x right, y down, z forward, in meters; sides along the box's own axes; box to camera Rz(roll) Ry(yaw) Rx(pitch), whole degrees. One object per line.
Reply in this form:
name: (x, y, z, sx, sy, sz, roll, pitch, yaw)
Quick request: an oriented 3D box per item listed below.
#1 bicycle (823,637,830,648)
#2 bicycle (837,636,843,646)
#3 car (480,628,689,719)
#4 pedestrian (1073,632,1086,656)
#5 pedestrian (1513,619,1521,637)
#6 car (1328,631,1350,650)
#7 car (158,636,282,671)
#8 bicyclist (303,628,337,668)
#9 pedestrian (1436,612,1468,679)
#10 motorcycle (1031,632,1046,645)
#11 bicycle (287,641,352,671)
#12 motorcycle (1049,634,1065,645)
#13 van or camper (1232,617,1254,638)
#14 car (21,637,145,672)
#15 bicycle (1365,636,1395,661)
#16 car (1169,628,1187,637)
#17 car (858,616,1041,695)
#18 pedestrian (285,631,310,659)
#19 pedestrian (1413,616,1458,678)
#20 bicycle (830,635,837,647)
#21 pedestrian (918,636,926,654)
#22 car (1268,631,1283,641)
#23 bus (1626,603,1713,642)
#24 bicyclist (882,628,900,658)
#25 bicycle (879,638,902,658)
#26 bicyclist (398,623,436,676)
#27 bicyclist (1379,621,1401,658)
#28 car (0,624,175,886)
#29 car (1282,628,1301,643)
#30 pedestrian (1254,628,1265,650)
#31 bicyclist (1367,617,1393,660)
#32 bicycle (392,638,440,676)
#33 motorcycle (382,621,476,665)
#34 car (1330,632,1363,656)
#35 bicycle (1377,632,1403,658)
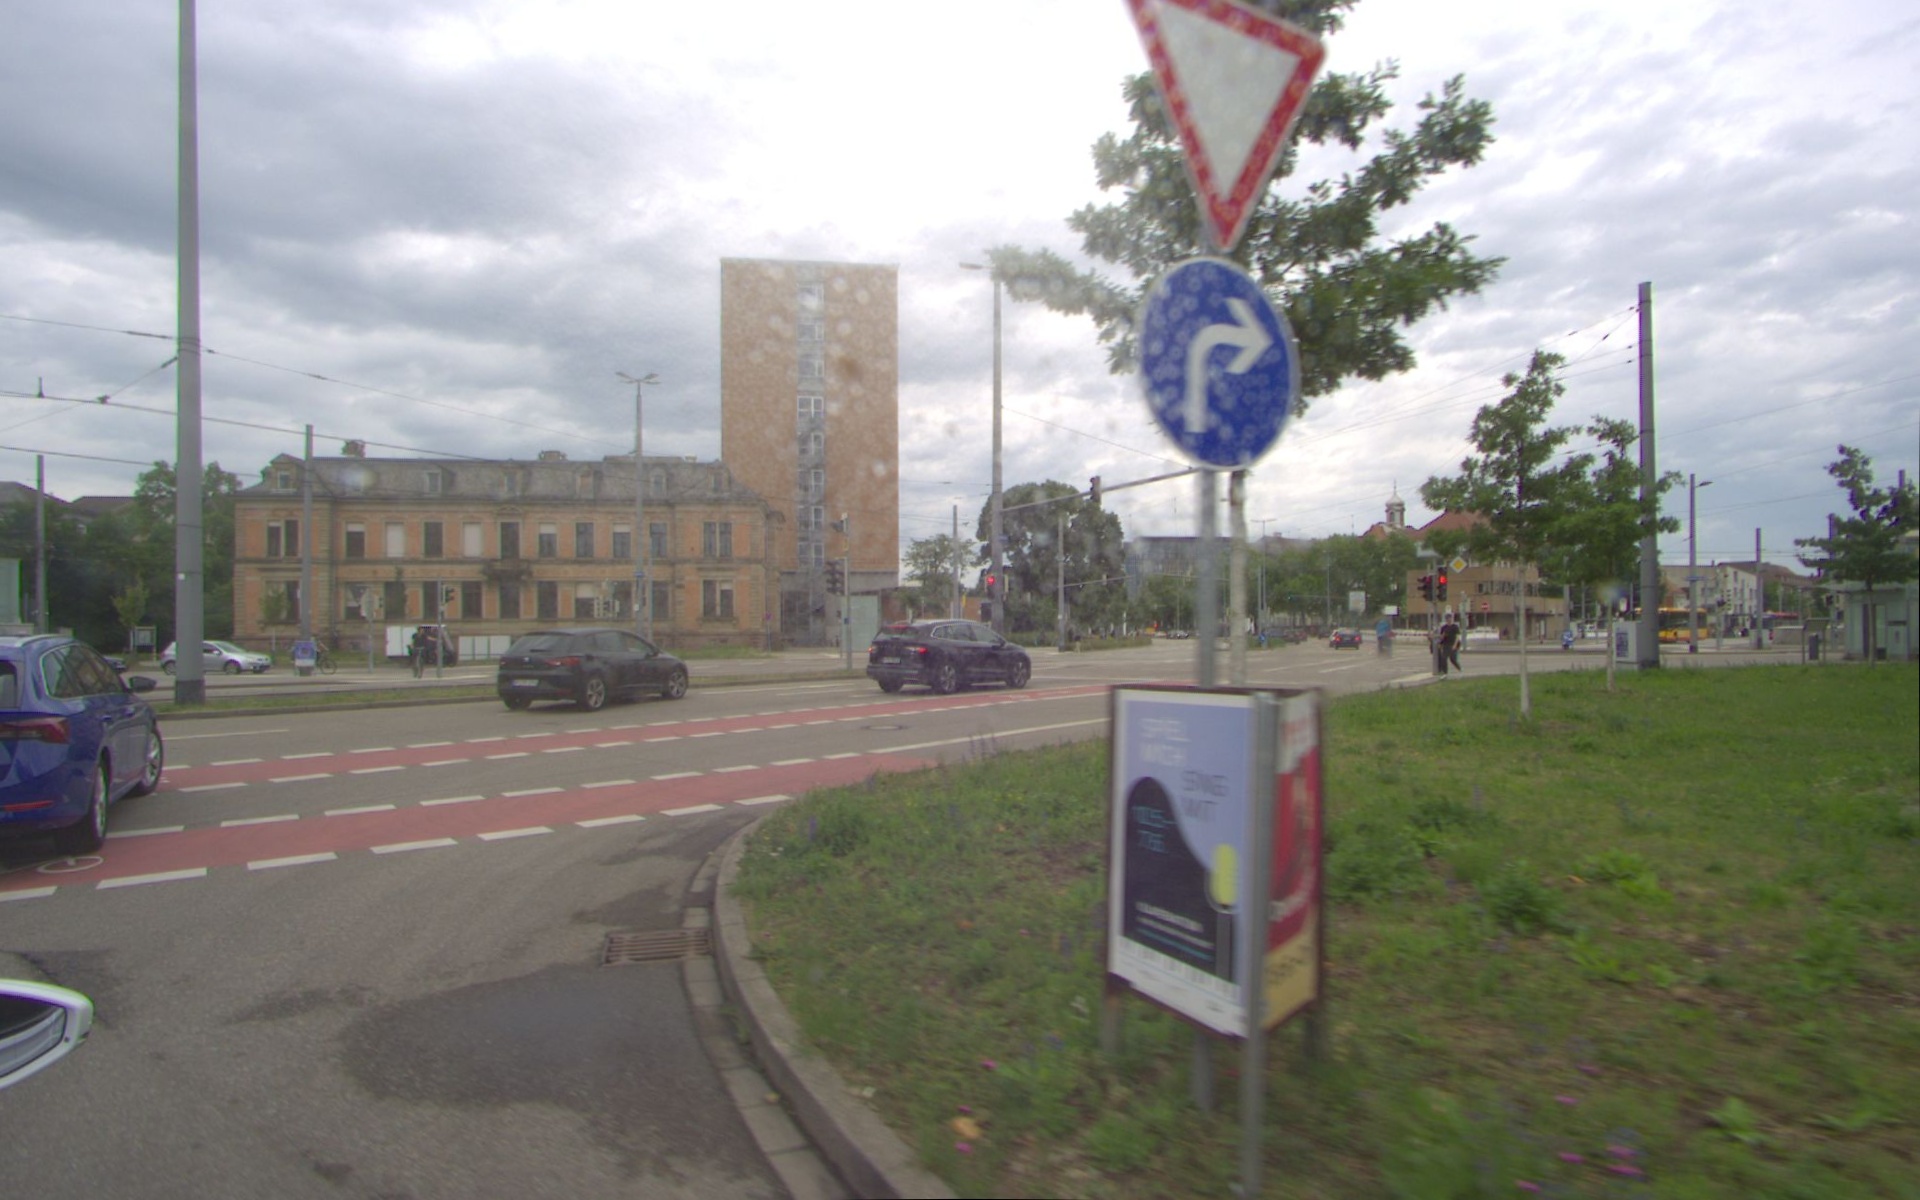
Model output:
bicycle: (-13.137, 4.165, 98.578, 0.561, 1.120, 1.428, 0, -1, -4)
bicycle: (-11.825, 4.038, 98.715, 0.500, 1.062, 1.428, 0, -1, -4)
car: (-6.728, 1.257, 18.373, 1.678, 1.467, 3.808, 0, -1, 15)
pedestrian: (9.888, 3.671, 83.040, 1.011, 1.959, 0.700, -1, -1, 13)
pedestrian: (57.814, 2.904, 103.906, 0.616, 1.943, 0.705, -1, -1, 42)
car: (31.865, 3.367, 84.151, 1.751, 1.483, 3.991, 0, -1, 21)
car: (-32.220, 2.316, 43.697, 4.080, 1.472, 1.762, 0, -1, -1)
bicyclist: (-26.800, 2.026, 41.958, 0.900, 1.643, 0.855, -1, -2, -2)
pedestrian: (13.904, 1.281, 28.307, 0.531, 1.867, 0.978, -1, -1, 43)
motorcycle: (7.845, 3.832, 100.150, 1.444, 1.284, 0.512, 0, -1, -8)
bicycle: (-26.804, 2.326, 41.948, 2.155, 1.223, 0.858, -1, -2, -2)
motorcycle: (9.757, 3.962, 101.058, 1.724, 1.125, 0.508, 1, -1, -39)
van or camper: (42.803, 4.129, 151.595, 2.349, 3.164, 5.504, 0, -1, 8)
car: (-38.282, 2.361, 43.764, 4.062, 1.467, 1.697, 0, -1, 3)
bicycle: (19.014, 2.180, 45.339, 0.856, 1.119, 2.289, -1, -1, 33)
car: (37.445, 5.643, 172.007, 1.748, 1.483, 3.999, 0, -2, -10)
car: (-0.130, 1.206, 22.920, 1.762, 1.617, 4.476, -1, -2, 39)
pedestrian: (-41.679, 2.837, 63.043, 1.107, 1.786, 0.757, 0, -1, -14)
pedestrian: (15.200, 1.503, 32.024, 1.083, 1.931, 0.736, 1, -1, -4)
bicycle: (-12.478, 4.035, 98.665, 0.561, 1.120, 1.428, 0, -1, -4)
pedestrian: (-2.938, 3.490, 77.221, 0.563, 1.353, 0.498, 0, -1, -12)
car: (45.317, 5.149, 143.922, 1.748, 1.483, 3.998, 0, -1, 13)
bus: (62.136, 1.998, 87.521, 11.400, 3.163, 2.949, 1, -2, -37)
bicyclist: (-4.487, 2.759, 64.988, 0.816, 1.916, 1.048, -2, -1, 13)
bicycle: (-4.496, 3.086, 64.970, 0.811, 1.223, 2.233, -2, -2, 13)
bicyclist: (-19.024, 1.723, 35.072, 1.017, 1.822, 0.809, -1, 0, 41)
bicyclist: (20.517, 1.885, 47.837, 0.870, 1.754, 0.893, 0, -1, 17)
car: (-7.142, 0.954, 7.337, 1.762, 1.507, 4.440, 1, -2, -33)
car: (34.683, 3.709, 104.899, 1.749, 1.483, 3.996, 0, -1, 17)
pedestrian: (22.133, 2.874, 73.948, 0.718, 1.561, 0.416, -1, -1, 26)
bicyclist: (19.019, 1.740, 45.346, 0.862, 1.875, 1.041, -1, -1, 35)
bicycle: (-19.106, 2.008, 35.142, 1.978, 1.258, 0.809, -3, -2, 41)
motorcycle: (-25.371, 2.037, 47.926, 3.616, 2.039, 1.696, 0, -1, -3)
car: (28.119, 3.219, 72.992, 1.964, 1.705, 3.997, 0, -3, 17)
bicycle: (20.572, 2.149, 47.961, 0.878, 1.193, 2.299, 0, -1, 17)
